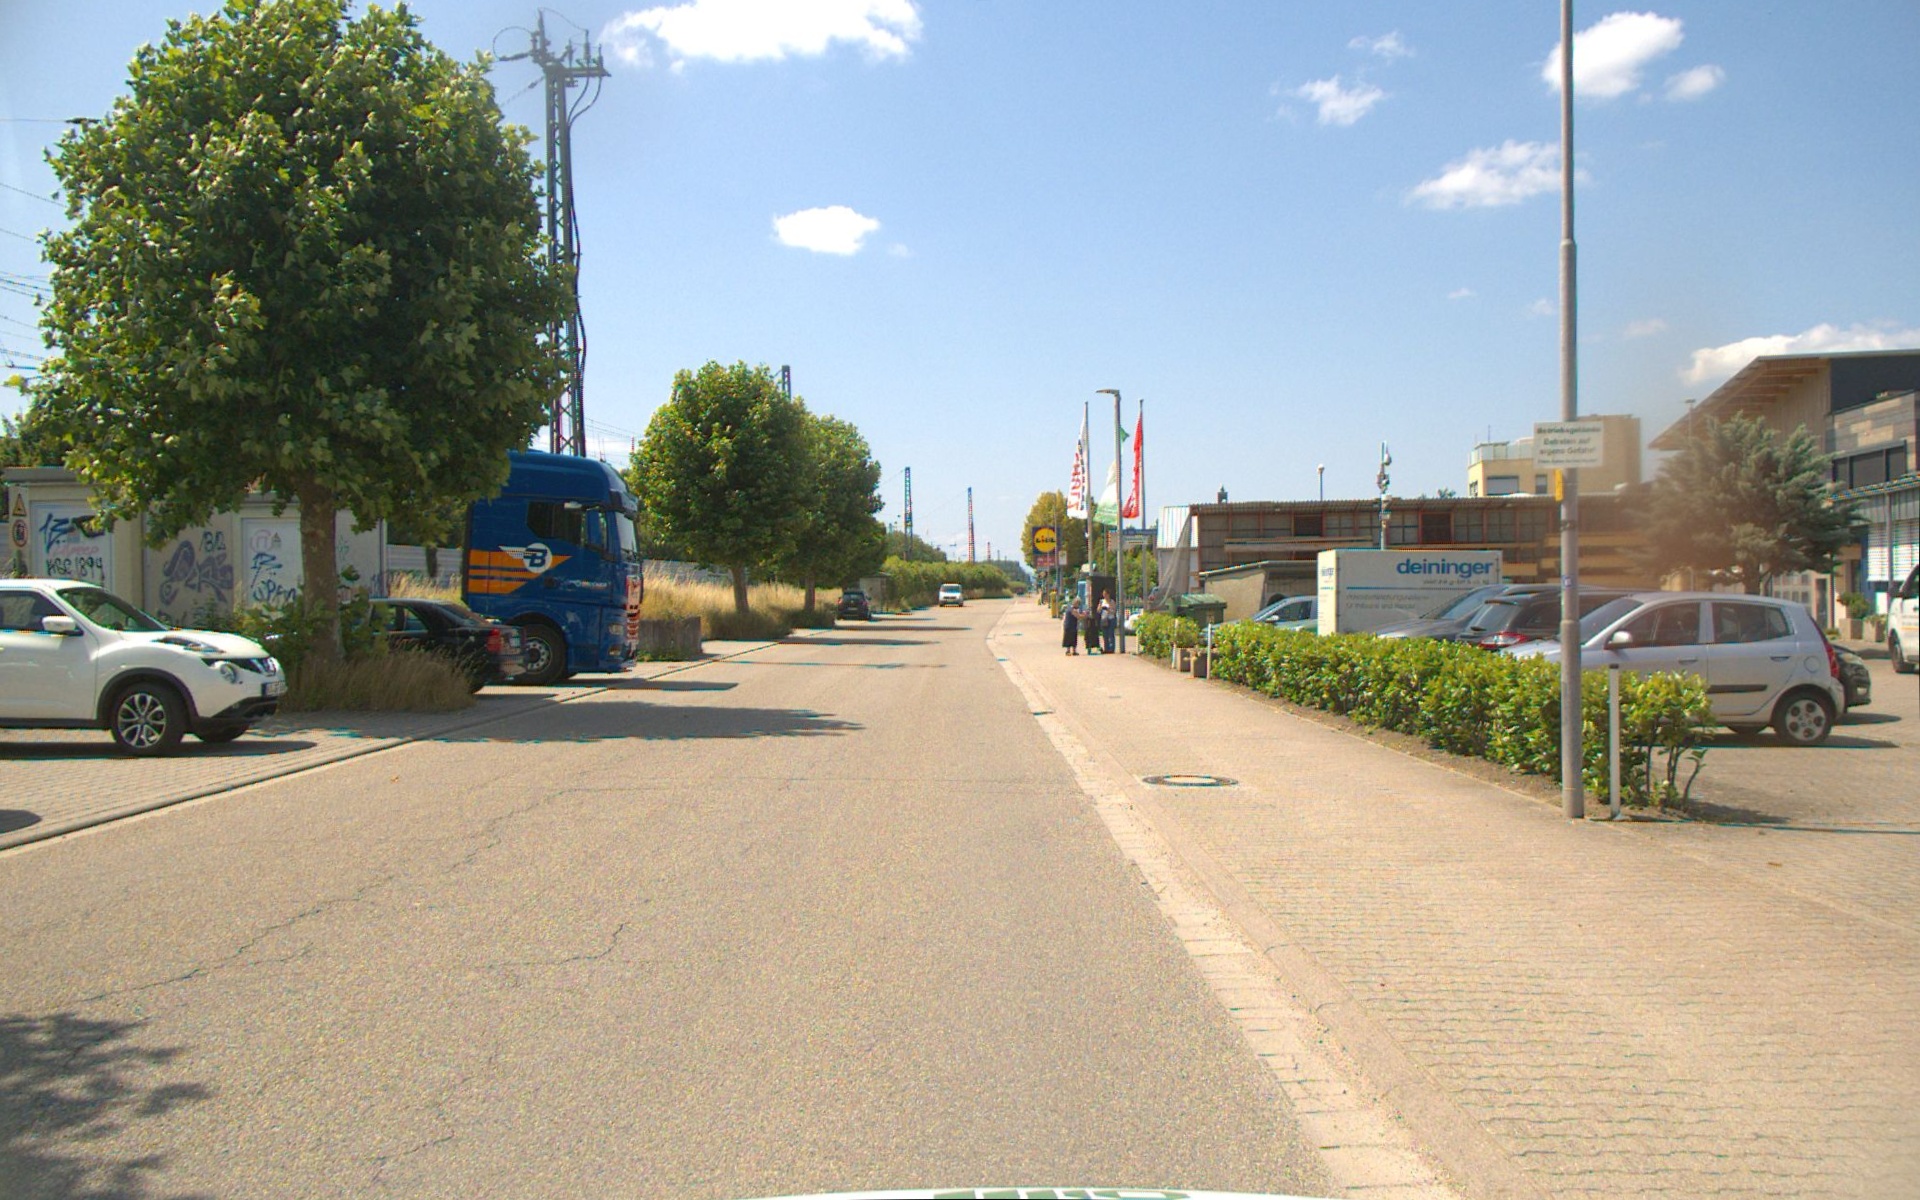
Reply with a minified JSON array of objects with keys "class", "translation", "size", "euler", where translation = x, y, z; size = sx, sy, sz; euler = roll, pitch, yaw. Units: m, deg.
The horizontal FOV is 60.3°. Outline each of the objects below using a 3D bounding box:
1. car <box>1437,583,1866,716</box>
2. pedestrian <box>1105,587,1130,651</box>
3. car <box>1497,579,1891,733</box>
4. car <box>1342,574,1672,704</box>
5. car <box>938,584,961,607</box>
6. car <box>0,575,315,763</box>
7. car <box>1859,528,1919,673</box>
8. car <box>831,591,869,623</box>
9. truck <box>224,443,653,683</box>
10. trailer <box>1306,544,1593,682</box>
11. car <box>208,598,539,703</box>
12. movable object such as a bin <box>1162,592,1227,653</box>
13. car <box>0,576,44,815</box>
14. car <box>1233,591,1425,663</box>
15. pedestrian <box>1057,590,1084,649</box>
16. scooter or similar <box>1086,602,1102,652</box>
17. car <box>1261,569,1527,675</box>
[{"class":"car","translation":[8.152,0.555,19.749],"size":[4.385,1.465,1.814],"euler":[0,0,-3]},{"class":"pedestrian","translation":[3.920,0.489,41.234],"size":[0.524,1.567,0.510],"euler":[-2,-2,-1]},{"class":"car","translation":[7.477,0.546,17.104],"size":[3.282,1.426,1.770],"euler":[-2,0,3]},{"class":"car","translation":[7.530,0.541,22.960],"size":[3.955,1.602,1.712],"euler":[-2,-2,-5]},{"class":"car","translation":[-0.885,-0.405,137.710],"size":[1.800,1.890,4.484],"euler":[0,0,1]},{"class":"car","translation":[-8.430,0.620,15.671],"size":[3.891,1.646,1.850],"euler":[-1,0,-3]},{"class":"car","translation":[15.338,-0.056,24.650],"size":[2.056,2.162,4.720],"euler":[-3,-1,12]},{"class":"car","translation":[-5.772,0.362,87.110],"size":[1.706,1.624,3.579],"euler":[0,1,0]},{"class":"truck","translation":[-8.739,-0.612,28.282],"size":[6.480,3.890,2.663],"euler":[0,0,-2]},{"class":"trailer","translation":[7.558,0.195,25.826],"size":[3.905,2.049,2.000],"euler":[0,0,0]},{"class":"car","translation":[-8.399,0.698,23.965],"size":[4.123,1.419,1.871],"euler":[0,0,-2]},{"class":"movable object such as a bin","translation":[5.827,0.542,41.120],"size":[1.254,1.484,1.035],"euler":[0,0,-37]},{"class":"car","translation":[-8.270,0.647,10.372],"size":[3.906,1.575,1.999],"euler":[-1,0,-2]},{"class":"car","translation":[7.900,0.566,35.646],"size":[3.766,1.481,1.818],"euler":[0,0,1]},{"class":"pedestrian","translation":[2.765,0.493,41.349],"size":[0.582,1.430,0.584],"euler":[-2,-2,-1]},{"class":"scooter or similar","translation":[3.354,0.678,41.353],"size":[0.327,1.219,0.398],"euler":[-2,-2,1]},{"class":"car","translation":[7.539,0.391,28.971],"size":[4.127,1.662,1.800],"euler":[-2,-2,-1]}]
